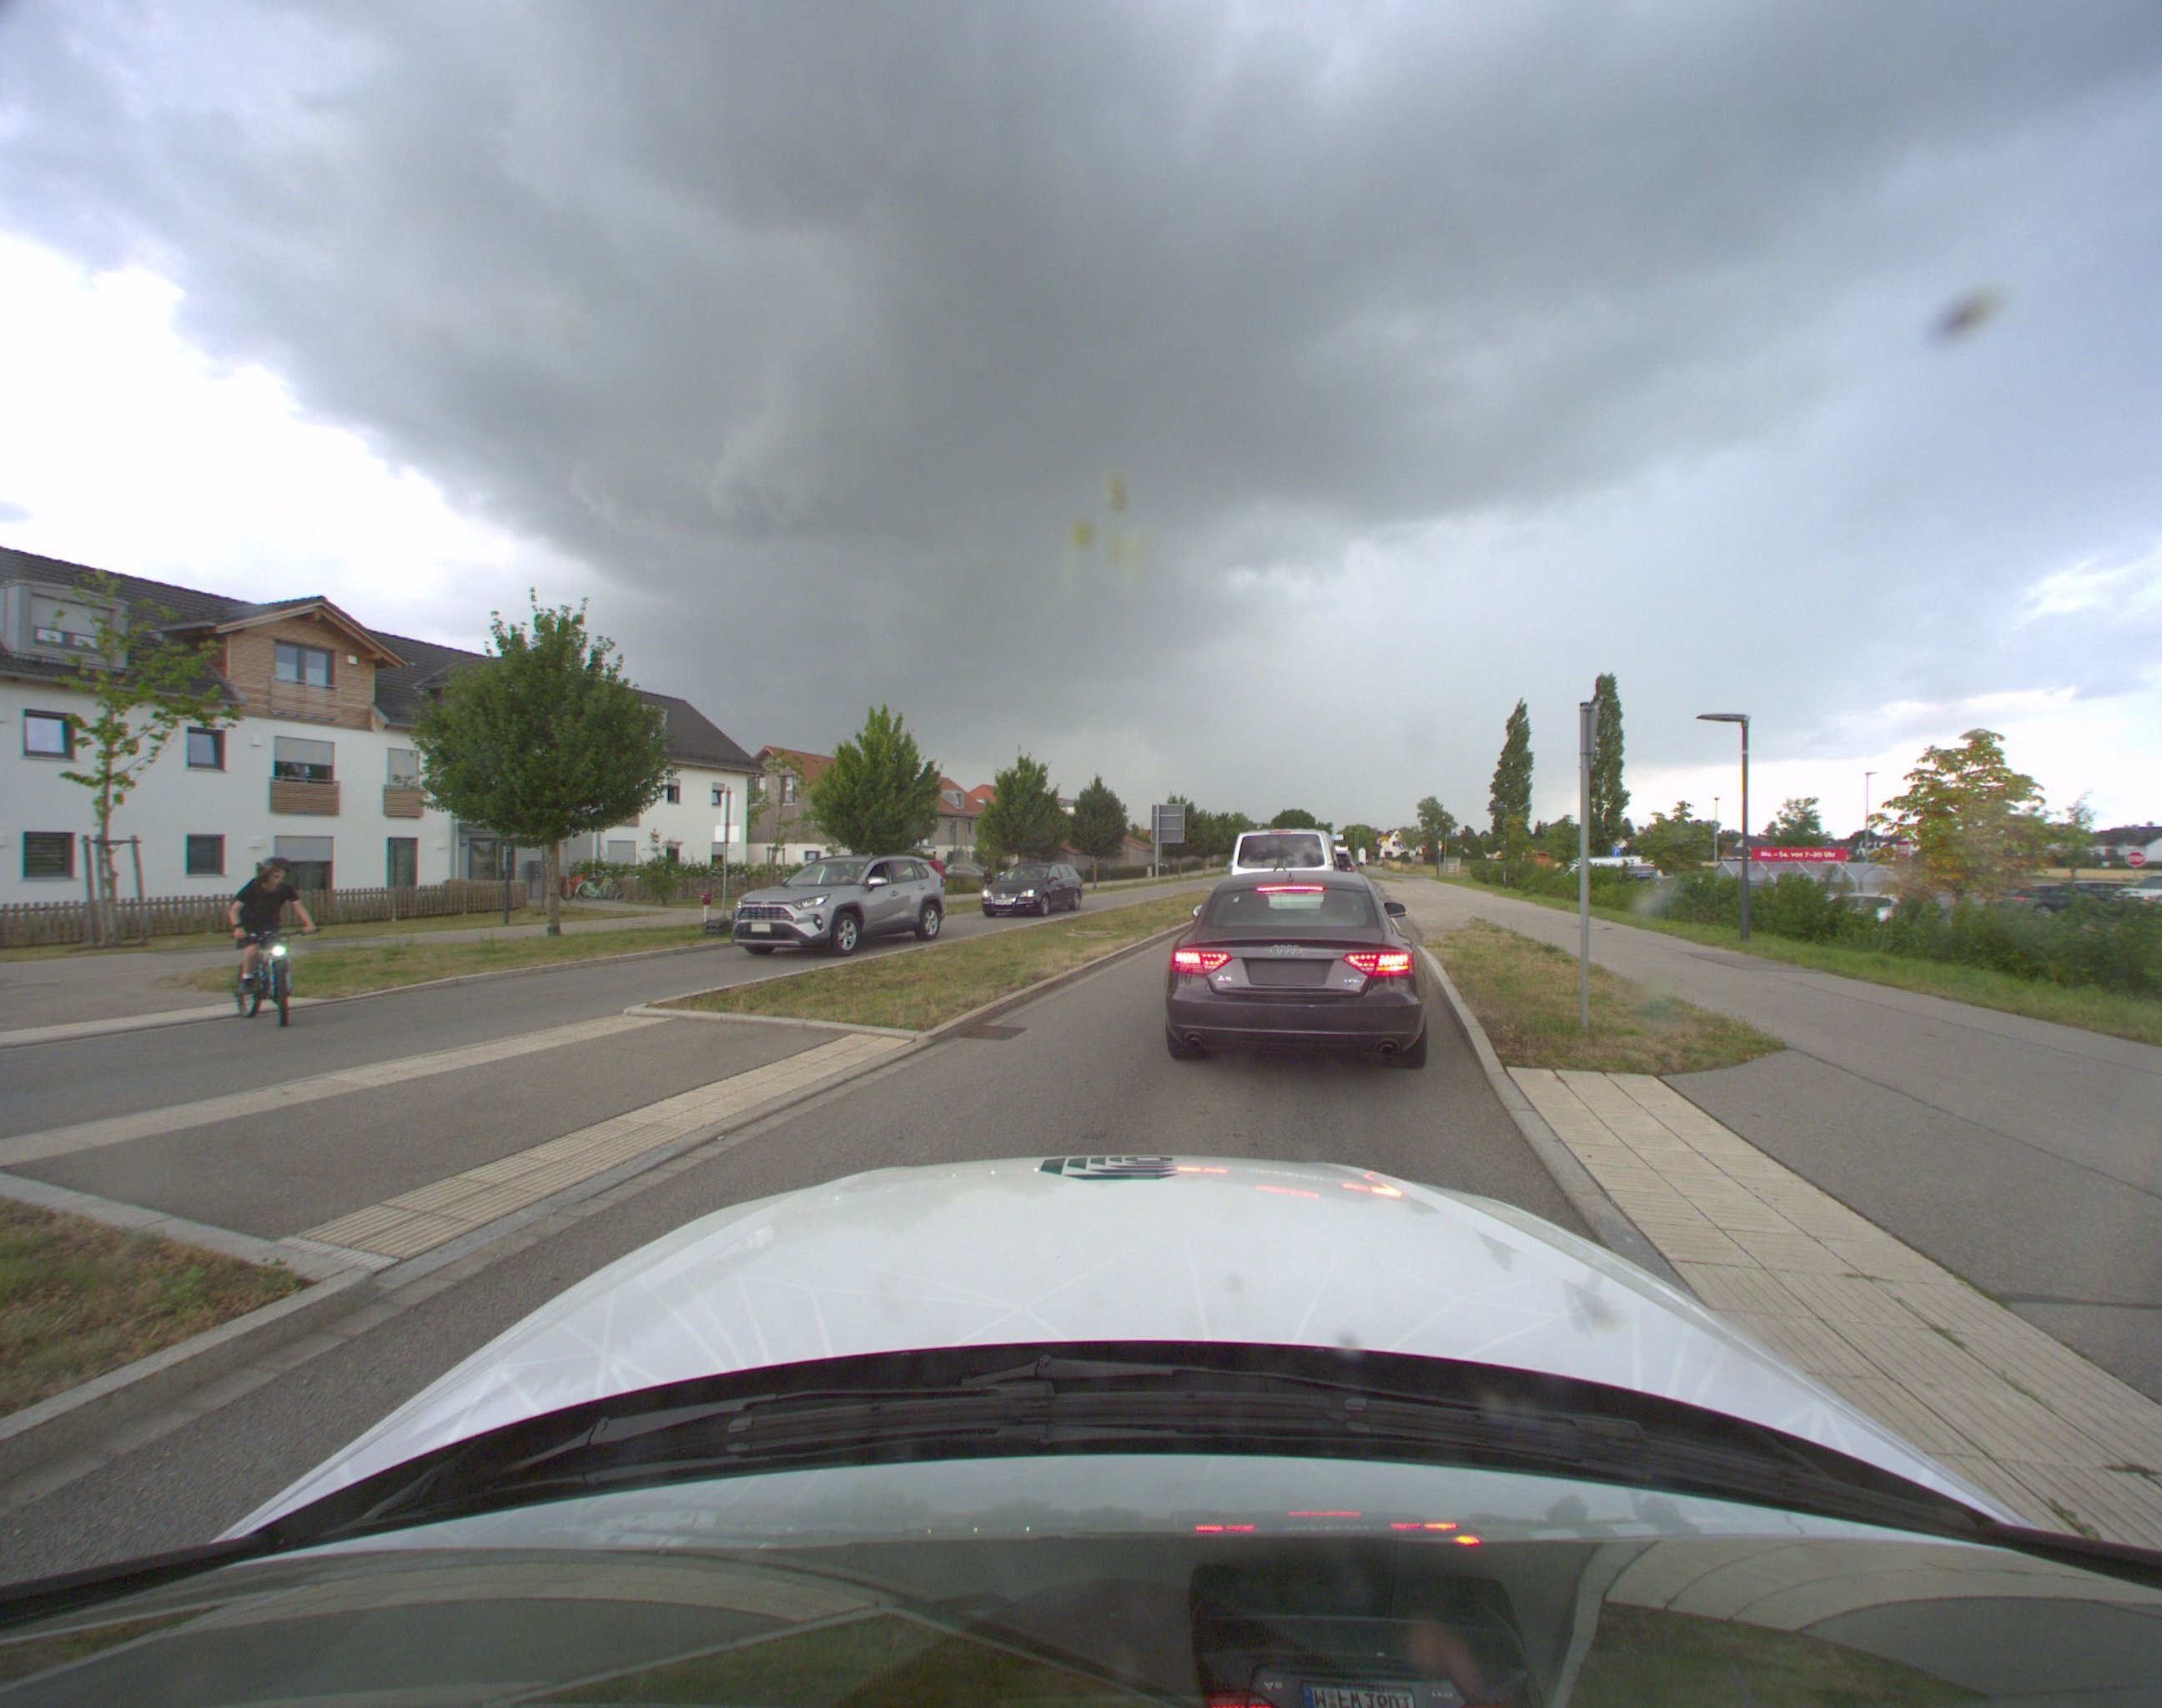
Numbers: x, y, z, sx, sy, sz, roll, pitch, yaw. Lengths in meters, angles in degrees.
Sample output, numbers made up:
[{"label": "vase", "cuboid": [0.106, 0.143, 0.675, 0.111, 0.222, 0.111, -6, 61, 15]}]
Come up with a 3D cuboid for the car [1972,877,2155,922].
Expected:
[{"label": "car", "cuboid": [40.853, 1.861, 34.012, 4.520, 1.664, 2.009, 0, 0, 18]}]

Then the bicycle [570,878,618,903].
[{"label": "bicycle", "cuboid": [-17.688, 1.322, 29.610, 0.364, 0.843, 1.554, 3, 0, 20]}]

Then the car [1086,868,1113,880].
[{"label": "car", "cuboid": [1.778, 1.926, 78.762, 2.455, 1.028, 1.189, 0, 0, 12]}]

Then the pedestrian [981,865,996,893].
[{"label": "pedestrian", "cuboid": [-5.097, 1.371, 44.800, 0.577, 1.559, 0.663, 0, 0, 16]}]

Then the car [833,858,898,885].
[{"label": "car", "cuboid": [-14.959, 1.217, 56.734, 1.976, 1.772, 4.490, 0, -1, 23]}]

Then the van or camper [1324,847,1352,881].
[{"label": "van or camper", "cuboid": [26.139, 1.007, 82.771, 2.604, 3.324, 6.852, 1, -1, 18]}]

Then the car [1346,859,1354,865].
[{"label": "car", "cuboid": [55.042, 1.597, 166.564, 1.600, 1.272, 3.478, 1, 0, 19]}]

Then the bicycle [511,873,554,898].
[{"label": "bicycle", "cuboid": [-20.493, 1.171, 30.474, 0.364, 0.843, 1.344, 3, 0, 20]}]

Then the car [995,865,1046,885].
[{"label": "car", "cuboid": [-4.808, 1.623, 64.847, 3.702, 1.482, 1.693, 1, 0, 15]}]

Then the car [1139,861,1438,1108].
[{"label": "car", "cuboid": [1.820, 0.790, 7.021, 1.770, 1.391, 4.150, 1, 0, 16]}]

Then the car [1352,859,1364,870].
[{"label": "car", "cuboid": [39.766, 1.503, 116.929, 1.600, 1.631, 3.633, 1, 0, 19]}]

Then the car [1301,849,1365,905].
[{"label": "car", "cuboid": [8.088, 0.685, 26.027, 1.762, 1.618, 4.019, -2, -1, 18]}]

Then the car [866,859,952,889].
[{"label": "car", "cuboid": [-9.993, 1.134, 47.437, 4.491, 1.680, 2.010, 0, 0, 21]}]

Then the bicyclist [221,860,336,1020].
[{"label": "bicyclist", "cuboid": [-7.864, 0.789, 7.976, 0.858, 1.446, 0.729, -1, -1, 41]}]

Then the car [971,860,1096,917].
[{"label": "car", "cuboid": [-1.212, 0.916, 23.199, 1.738, 1.416, 4.479, -1, -1, 22]}]

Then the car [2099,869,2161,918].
[{"label": "car", "cuboid": [48.106, 1.679, 35.278, 5.080, 2.013, 2.005, 0, 1, 7]}]

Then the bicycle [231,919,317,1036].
[{"label": "bicycle", "cuboid": [-7.931, 1.155, 7.982, 1.692, 0.946, 0.500, -2, -1, 42]}]

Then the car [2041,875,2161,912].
[{"label": "car", "cuboid": [48.384, 1.831, 38.033, 4.276, 1.578, 1.776, 0, 0, 20]}]

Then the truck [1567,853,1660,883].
[{"label": "truck", "cuboid": [35.028, 0.896, 53.697, 4.762, 1.872, 2.007, 1, -1, 14]}]

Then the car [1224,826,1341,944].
[{"label": "car", "cuboid": [3.906, 0.533, 15.549, 1.853, 1.934, 4.017, -1, 0, 16]}]

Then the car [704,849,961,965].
[{"label": "car", "cuboid": [-4.140, 0.800, 14.518, 1.977, 1.704, 4.658, -1, 0, 20]}]

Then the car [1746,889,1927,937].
[{"label": "car", "cuboid": [26.113, 1.998, 28.342, 4.199, 1.440, 2.009, 0, 0, 18]}]

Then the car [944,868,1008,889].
[{"label": "car", "cuboid": [-7.109, 1.652, 55.460, 3.885, 1.315, 1.850, 0, 0, 16]}]
